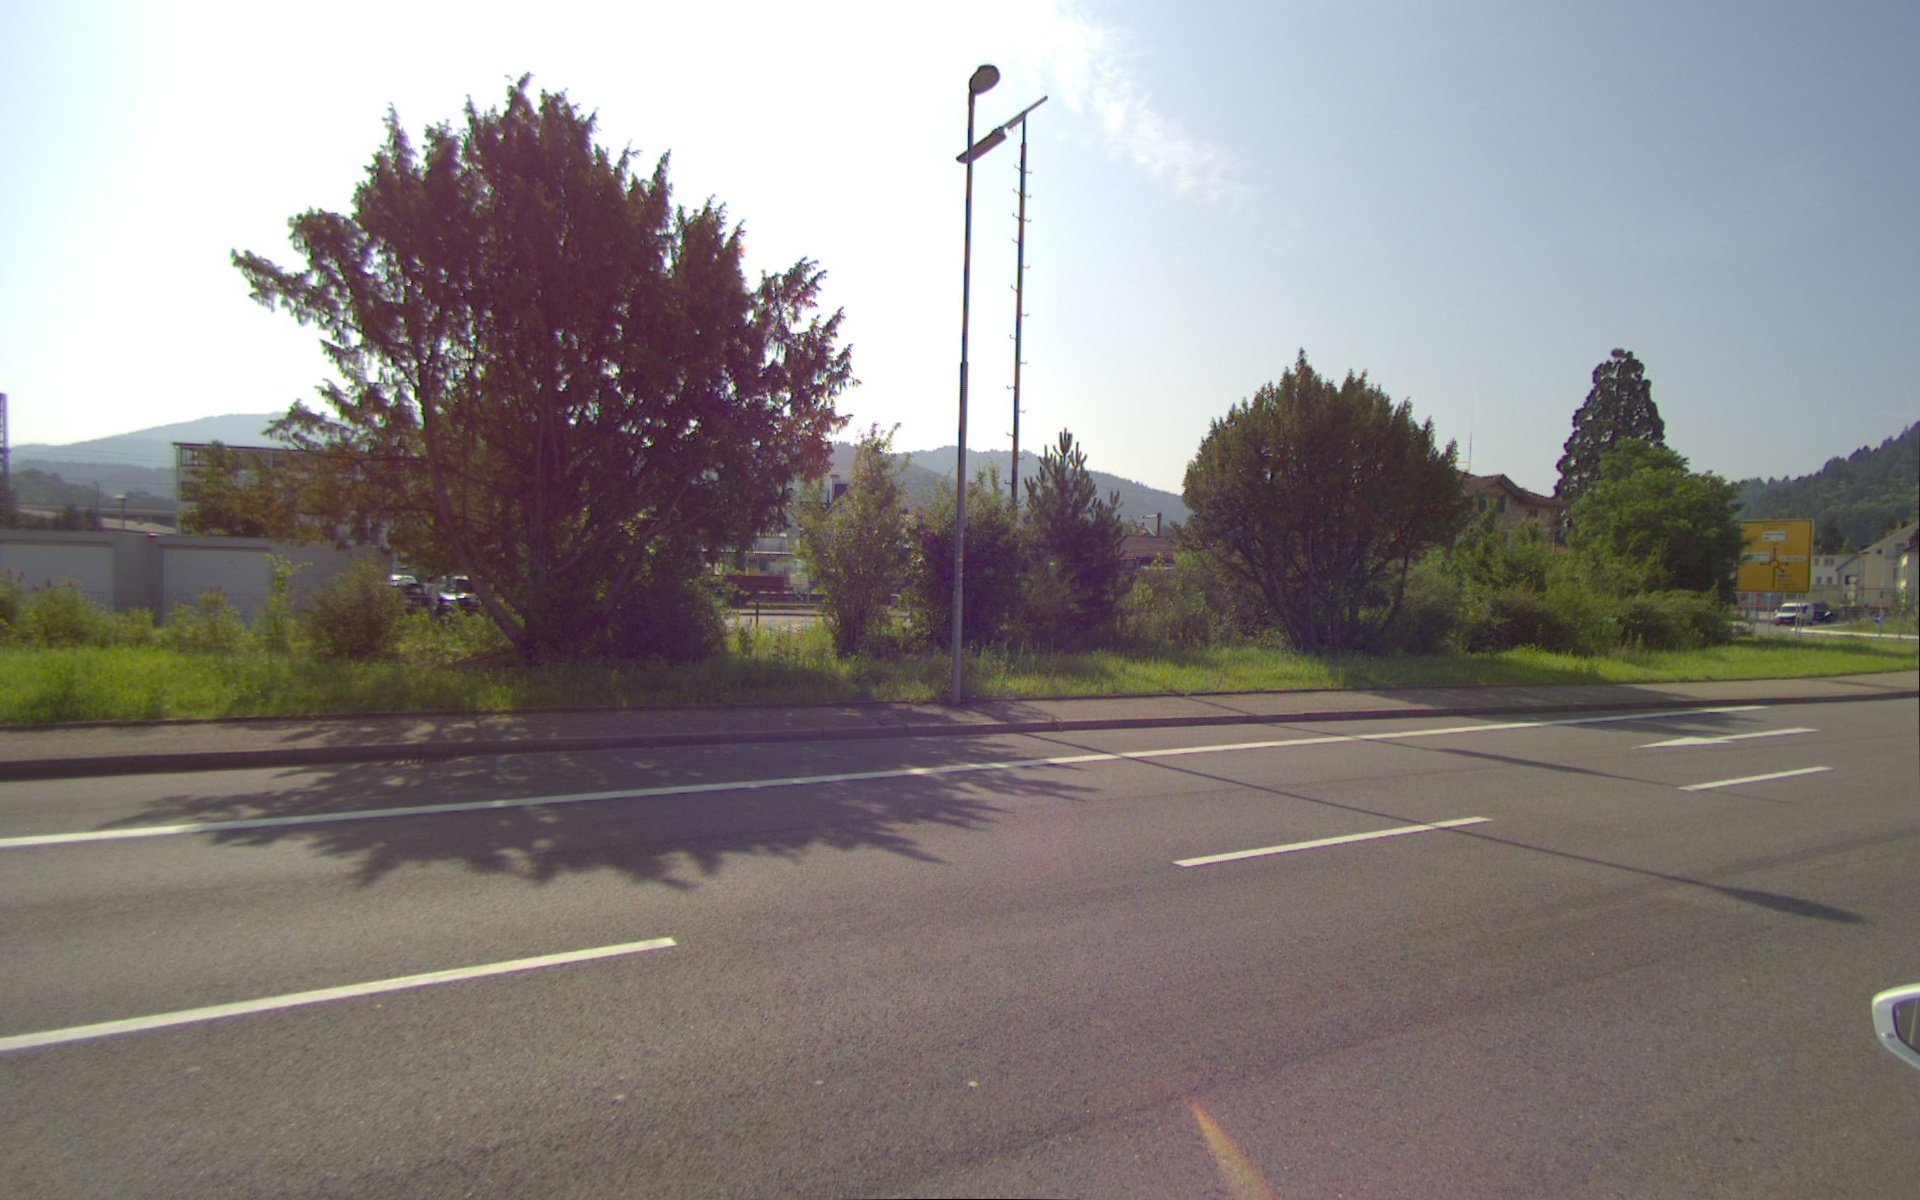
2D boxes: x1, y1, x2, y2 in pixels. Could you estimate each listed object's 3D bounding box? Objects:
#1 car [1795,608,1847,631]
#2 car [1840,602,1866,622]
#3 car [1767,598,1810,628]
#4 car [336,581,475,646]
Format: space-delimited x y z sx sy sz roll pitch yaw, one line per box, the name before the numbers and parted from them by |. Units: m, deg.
car | 79.629 1.809 92.913 4.817 1.972 1.834 2 0 -26
car | 93.848 1.242 105.581 1.787 2.041 3.982 2 1 39
car | 67.701 1.024 82.072 4.563 2.106 1.791 -3 4 -39
car | -15.417 0.356 28.189 1.851 1.627 3.998 2 0 -4
